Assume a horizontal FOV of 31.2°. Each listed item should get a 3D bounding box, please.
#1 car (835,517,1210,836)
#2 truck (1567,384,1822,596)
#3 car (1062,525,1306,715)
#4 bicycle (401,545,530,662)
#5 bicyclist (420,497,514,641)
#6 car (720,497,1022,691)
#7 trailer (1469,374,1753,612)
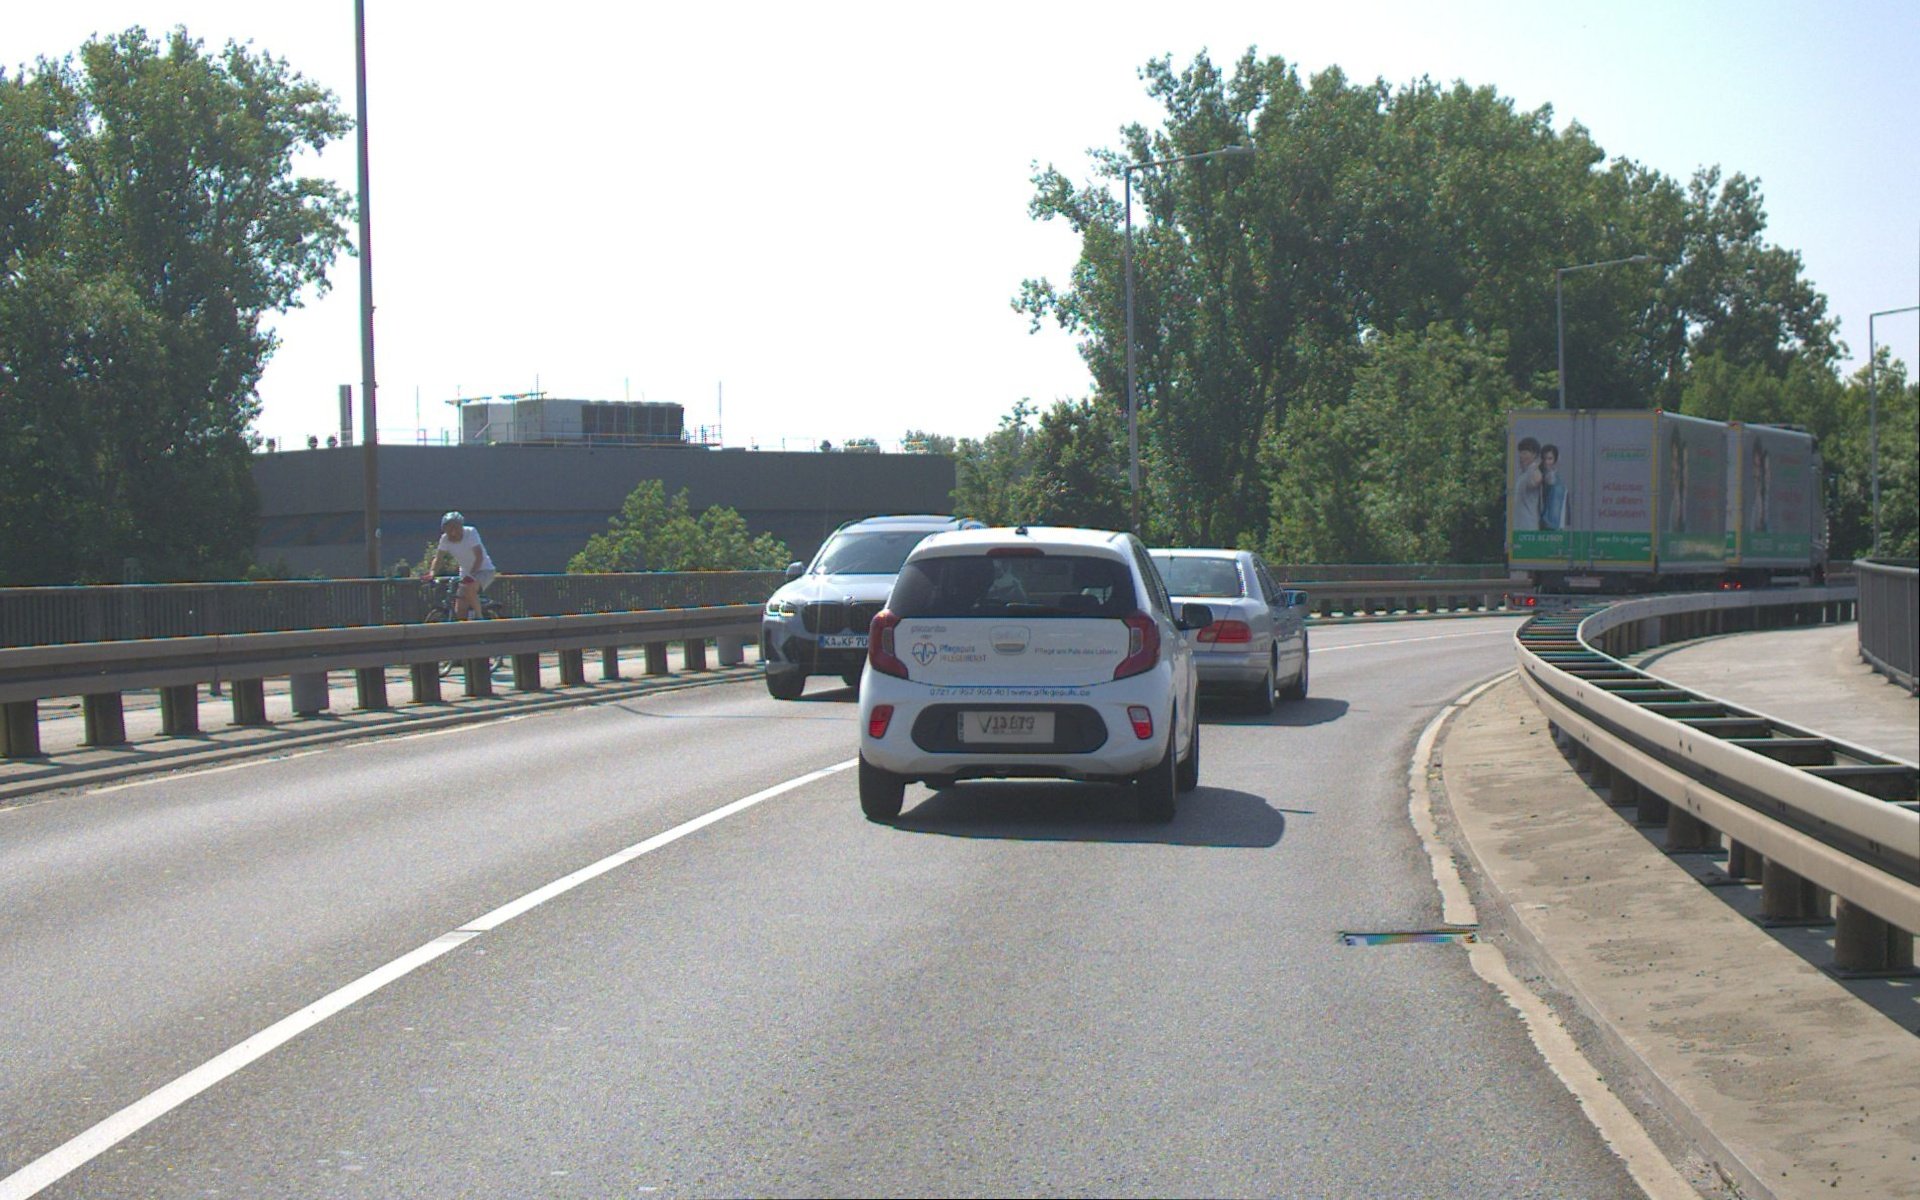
[{"bbox_3d":[0.446,0.322,18.797,1.702,1.489,3.999,2,2,6],"label":"car"},{"bbox_3d":[14.360,-2.173,66.684,3.264,3.745,8.362,3,3,22],"label":"truck"},{"bbox_3d":[2.027,0.106,30.151,1.939,1.481,4.899,1,1,5],"label":"car"},{"bbox_3d":[-5.016,0.030,35.015,0.612,1.131,2.148,-3,0,10],"label":"bicycle"},{"bbox_3d":[-5.020,-0.312,35.062,0.608,1.434,1.078,-2,0,10],"label":"bicyclist"},{"bbox_3d":[-0.761,-0.064,32.813,1.859,1.676,4.471,2,1,12],"label":"car"},{"bbox_3d":[11.357,-1.891,59.319,3.228,3.745,7.816,3,3,22],"label":"trailer"}]
